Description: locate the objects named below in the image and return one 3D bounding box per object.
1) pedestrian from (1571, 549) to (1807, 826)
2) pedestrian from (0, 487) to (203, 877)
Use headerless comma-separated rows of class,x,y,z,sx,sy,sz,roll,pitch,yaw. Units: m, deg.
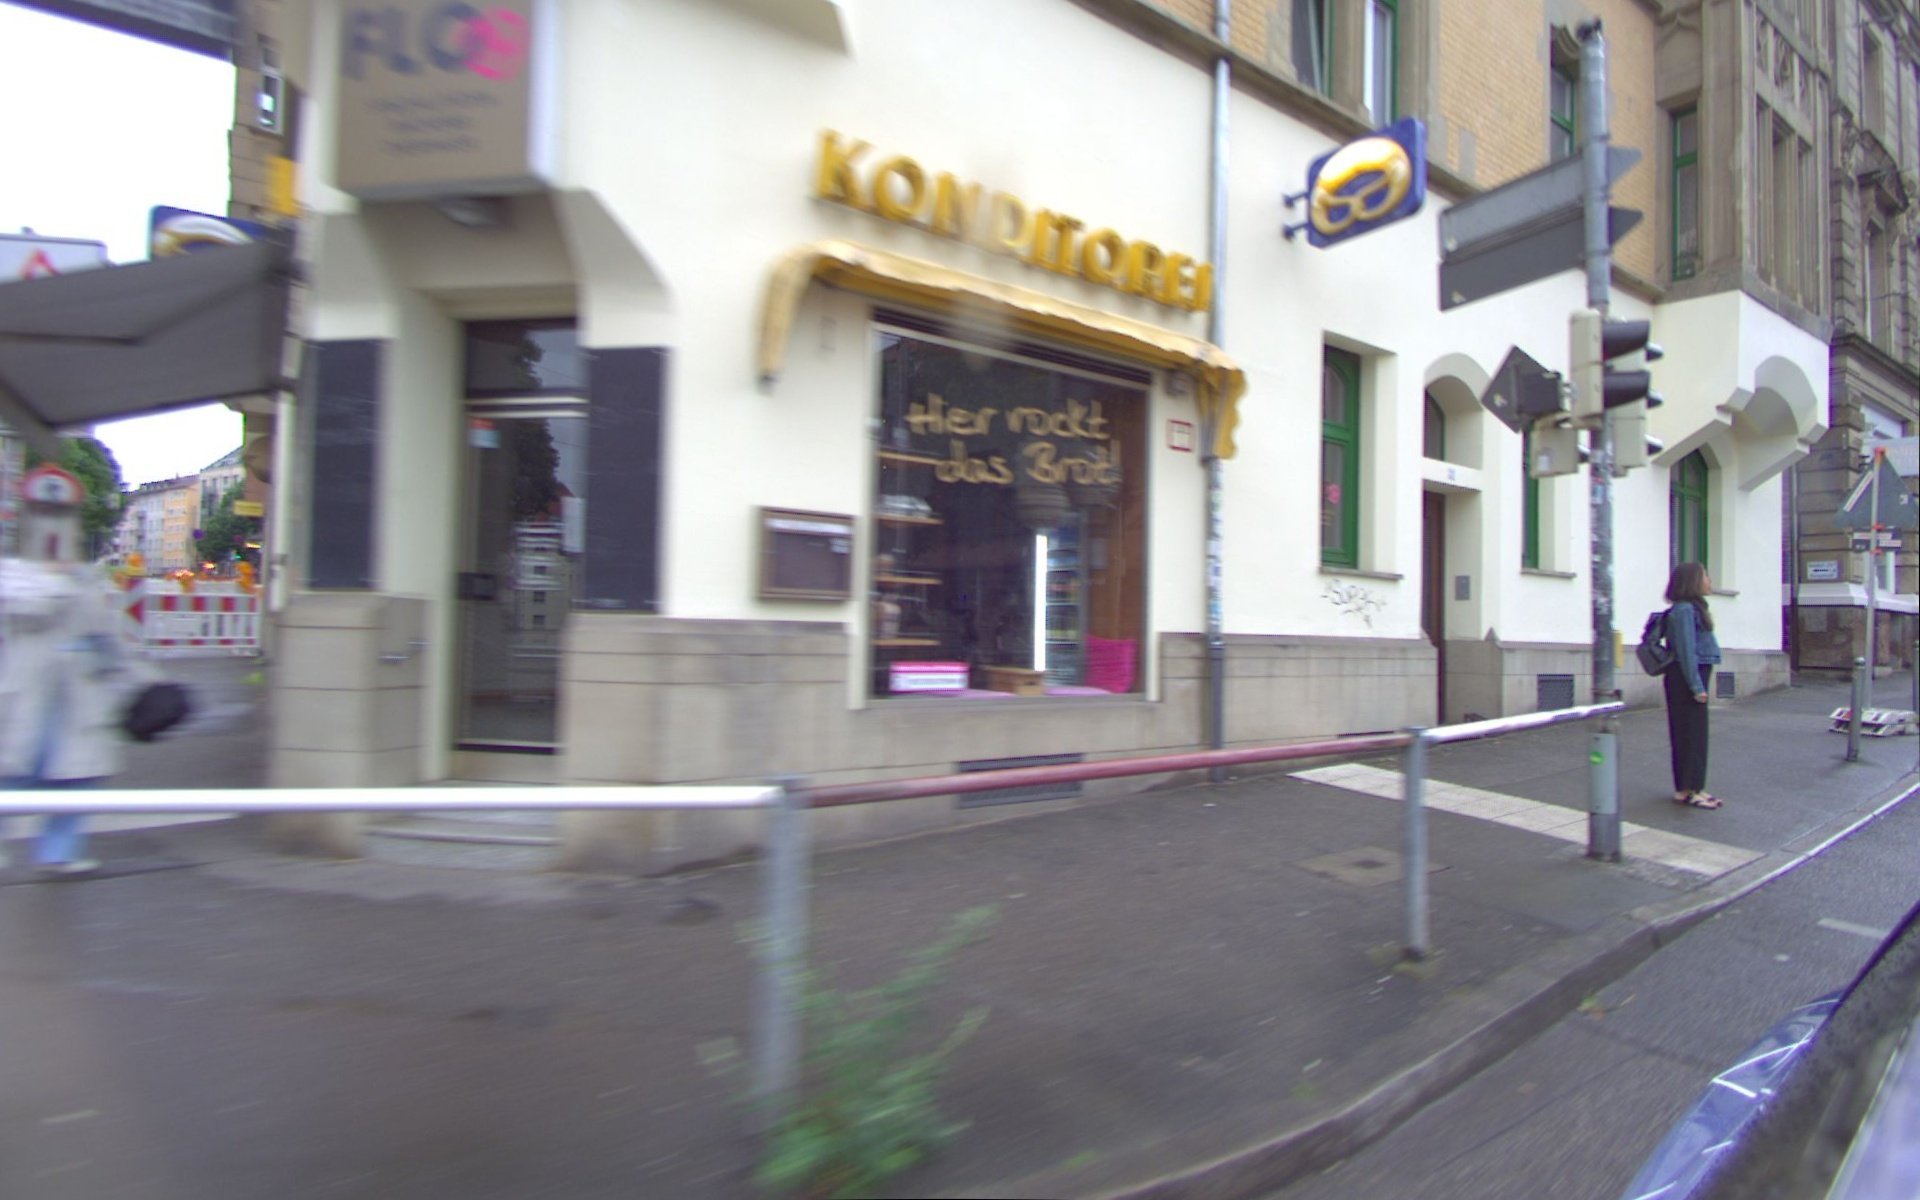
pedestrian,5.076,0.535,7.075,0.912,1.741,1.021,0,3,-34
pedestrian,-4.362,0.359,4.921,0.779,1.726,0.981,-1,0,44
